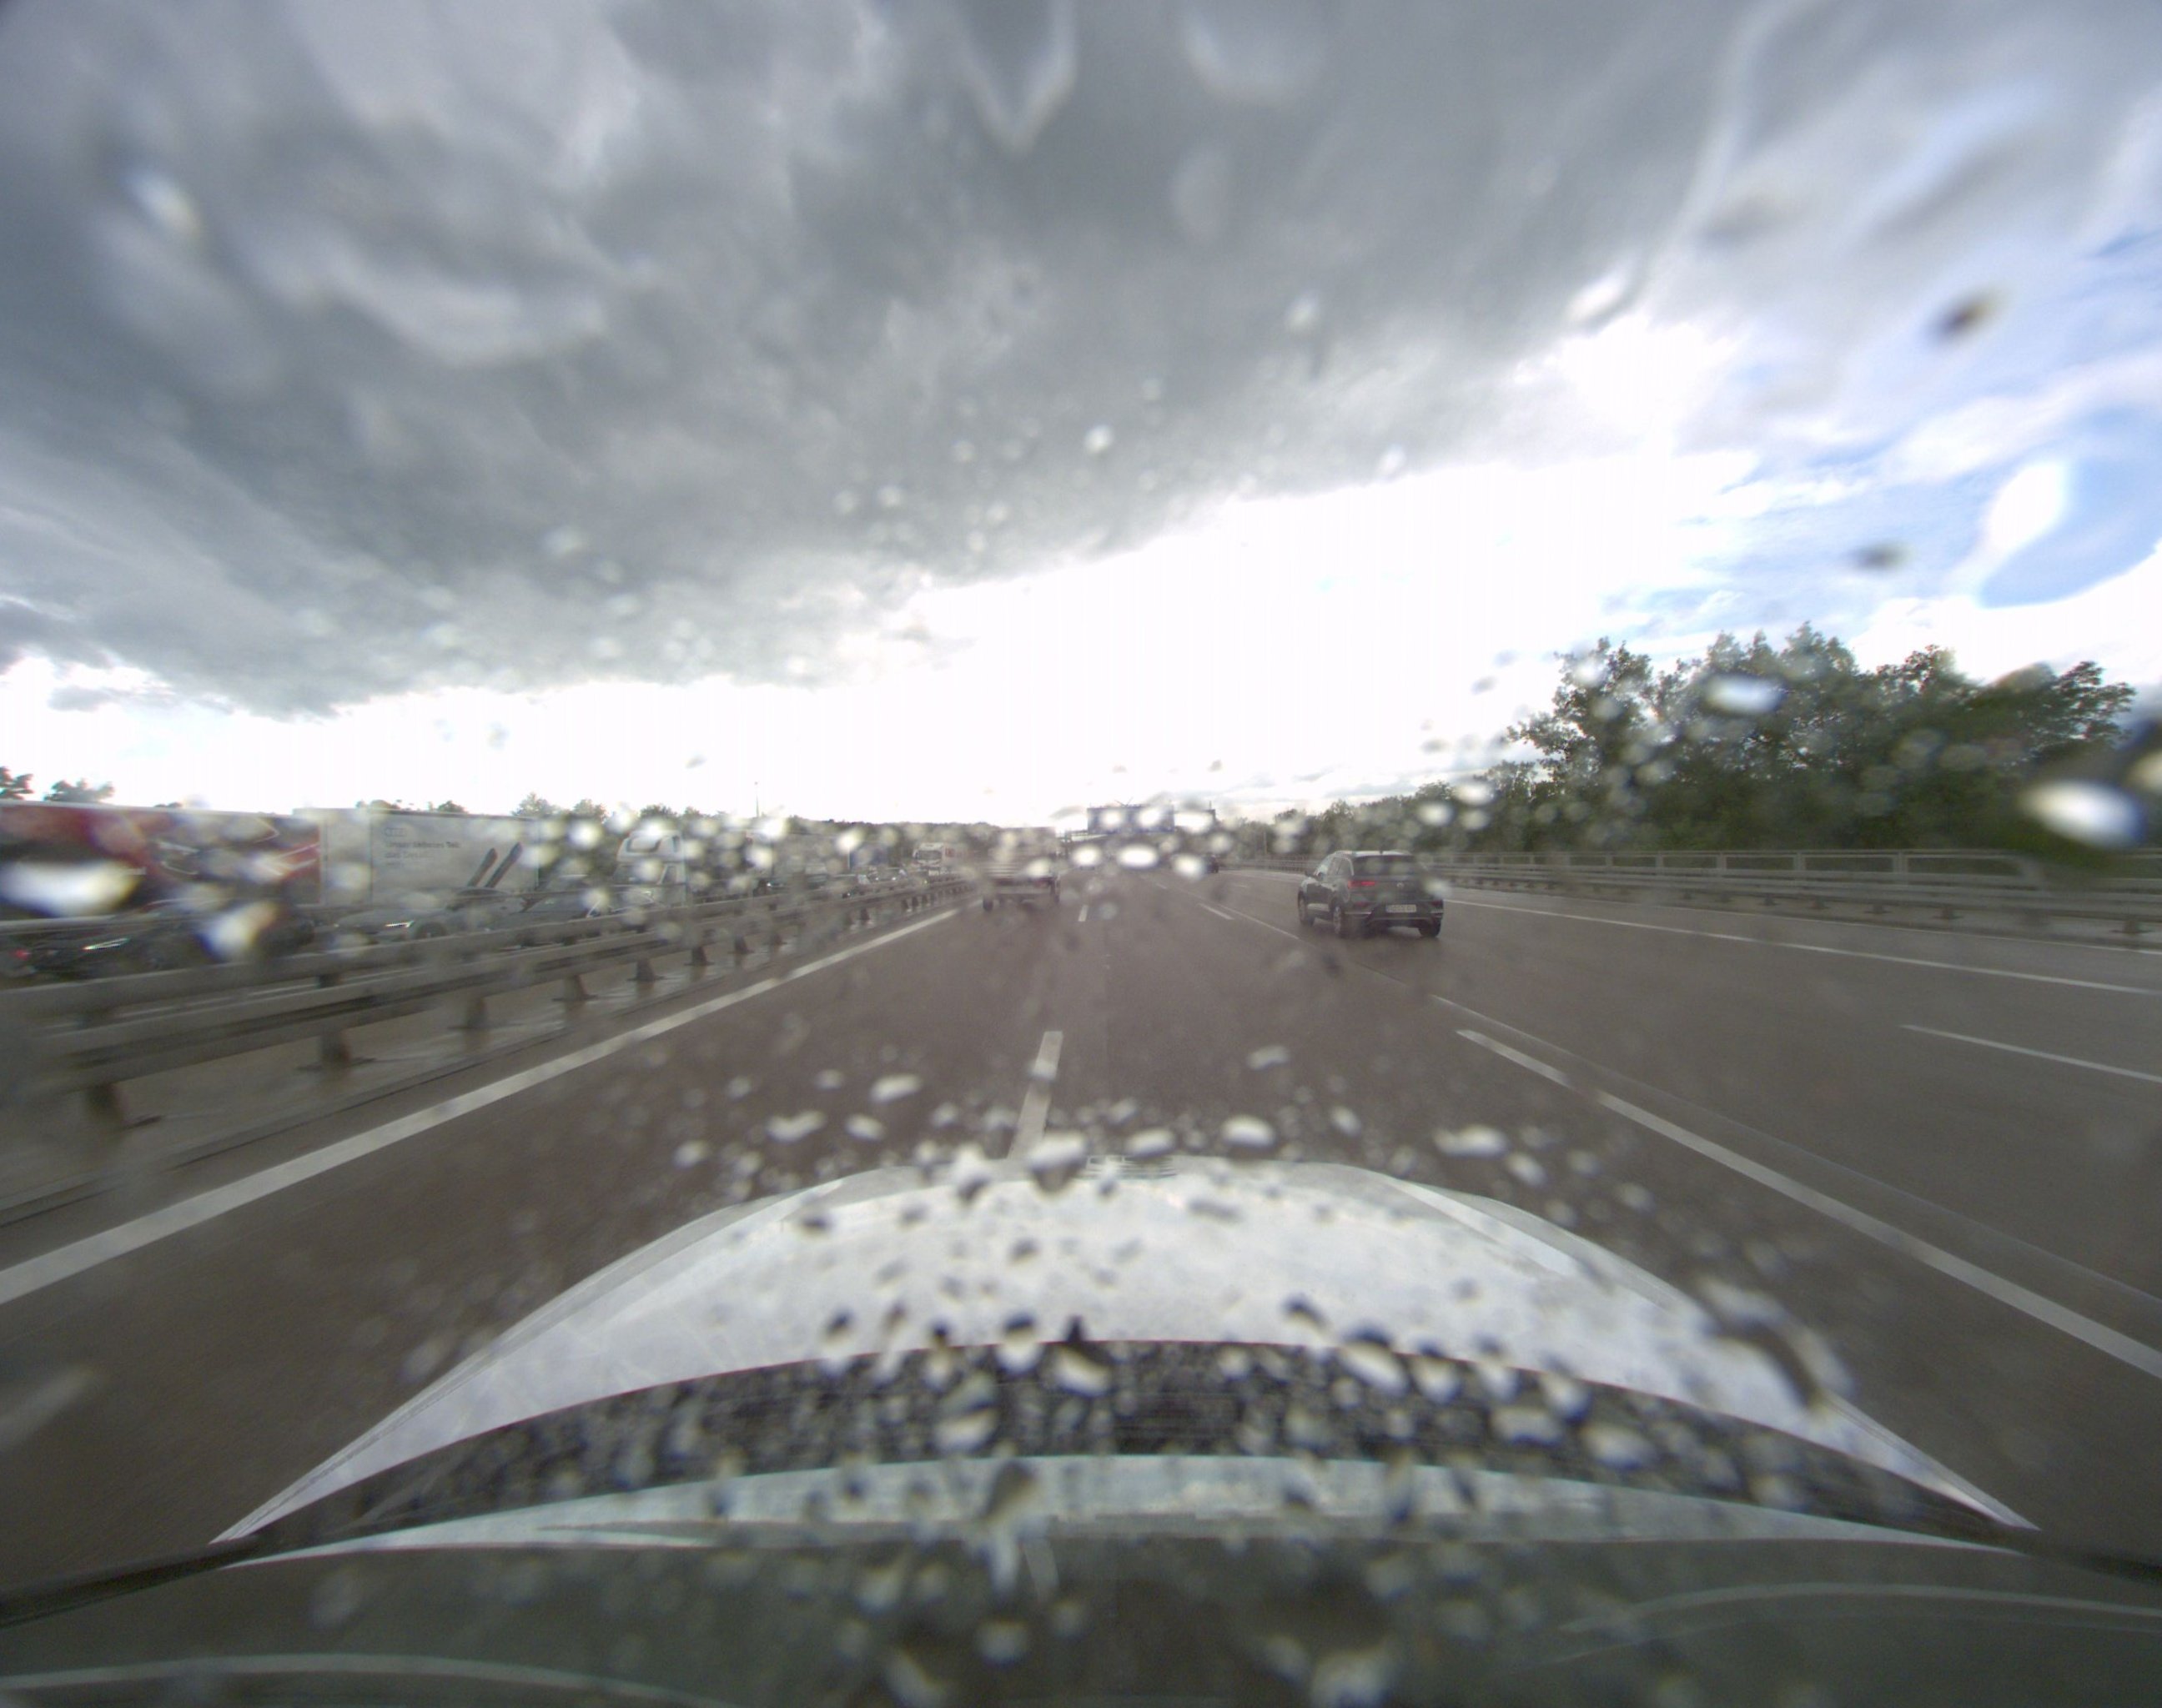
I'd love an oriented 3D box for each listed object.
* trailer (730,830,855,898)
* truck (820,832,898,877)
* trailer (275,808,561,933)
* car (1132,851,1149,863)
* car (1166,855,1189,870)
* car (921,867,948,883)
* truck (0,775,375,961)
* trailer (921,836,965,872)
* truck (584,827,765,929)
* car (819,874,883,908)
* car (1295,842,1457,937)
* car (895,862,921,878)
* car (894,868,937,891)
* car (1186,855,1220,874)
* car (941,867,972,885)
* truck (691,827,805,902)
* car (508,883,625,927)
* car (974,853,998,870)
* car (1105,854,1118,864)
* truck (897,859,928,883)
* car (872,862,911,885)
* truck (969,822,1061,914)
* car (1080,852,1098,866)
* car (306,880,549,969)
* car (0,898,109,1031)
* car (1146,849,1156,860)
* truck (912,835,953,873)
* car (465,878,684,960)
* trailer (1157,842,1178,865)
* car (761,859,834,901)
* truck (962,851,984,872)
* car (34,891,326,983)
[{"bbox_3d":[-18.600,0.588,53.850,3.231,3.933,13.020,0,0,2],"label":"trailer"},{"bbox_3d":[-22.176,0.042,82.916,2.639,4.021,17.750,-2,0,1],"label":"truck"},{"bbox_3d":[-23.926,0.543,30.357,3.207,3.959,8.853,0,0,2],"label":"trailer"},{"bbox_3d":[8.743,0.481,120.406,2.091,1.699,3.998,-1,0,-1],"label":"car"},{"bbox_3d":[11.384,0.932,96.325,2.038,1.699,5.006,-1,0,0],"label":"car"},{"bbox_3d":[-14.466,2.096,80.622,1.639,1.510,4.861,-1,-2,2],"label":"car"},{"bbox_3d":[-24.251,0.312,20.796,3.213,3.910,10.285,0,0,2],"label":"truck"},{"bbox_3d":[-17.225,-0.062,102.827,3.175,4.194,11.960,-2,0,1],"label":"trailer"},{"bbox_3d":[-15.477,0.807,31.964,2.510,3.399,8.544,-2,0,2],"label":"truck"},{"bbox_3d":[-10.631,1.675,37.901,1.713,1.354,4.002,-2,0,2],"label":"car"},{"bbox_3d":[5.400,0.599,15.426,1.786,1.562,3.722,-1,0,1],"label":"car"},{"bbox_3d":[-17.656,1.635,83.338,1.639,1.545,4.002,-2,0,2],"label":"car"},{"bbox_3d":[-10.699,1.618,52.861,1.713,1.354,4.536,-2,0,2],"label":"car"},{"bbox_3d":[10.687,0.903,71.813,2.099,1.605,5.063,-1,0,-1],"label":"car"},{"bbox_3d":[-10.517,1.818,69.119,1.713,1.354,4.627,-2,0,2],"label":"car"},{"bbox_3d":[-18.856,0.565,46.782,3.187,3.933,7.577,0,0,2],"label":"truck"},{"bbox_3d":[-19.280,1.862,30.745,1.713,1.354,4.087,-2,0,2],"label":"car"},{"bbox_3d":[-9.856,0.783,85.024,1.785,1.619,4.286,-2,0,2],"label":"car"},{"bbox_3d":[5.132,0.835,138.119,2.038,1.699,4.001,-1,0,1],"label":"car"},{"bbox_3d":[-22.751,2.218,110.365,2.508,2.986,7.022,-2,0,1],"label":"truck"},{"bbox_3d":[-14.857,1.512,64.112,1.814,1.624,4.700,-2,0,2],"label":"car"},{"bbox_3d":[-1.817,0.361,25.041,2.346,2.408,7.354,0,0,-1],"label":"truck"},{"bbox_3d":[1.034,0.576,98.744,2.037,1.699,4.002,-1,0,2],"label":"car"},{"bbox_3d":[-15.665,1.596,19.983,1.713,1.700,5.057,-2,0,2],"label":"car"},{"bbox_3d":[-15.394,1.537,9.553,1.713,1.728,5.106,-2,0,2],"label":"car"},{"bbox_3d":[16.213,0.222,189.399,2.037,2.498,4.002,-1,0,2],"label":"car"},{"bbox_3d":[-17.398,-0.028,95.739,3.166,4.194,7.739,-2,0,1],"label":"truck"},{"bbox_3d":[-11.976,1.446,19.854,1.713,1.502,5.504,-2,0,2],"label":"car"},{"bbox_3d":[16.349,-0.138,154.793,3.319,4.176,11.844,0,0,2],"label":"trailer"},{"bbox_3d":[-15.506,1.363,44.924,1.814,2.052,5.677,-2,0,2],"label":"car"},{"bbox_3d":[-18.876,1.246,142.800,2.455,3.537,7.810,-2,0,1],"label":"truck"},{"bbox_3d":[-19.300,1.693,17.767,1.713,1.535,4.087,-2,0,2],"label":"car"}]
